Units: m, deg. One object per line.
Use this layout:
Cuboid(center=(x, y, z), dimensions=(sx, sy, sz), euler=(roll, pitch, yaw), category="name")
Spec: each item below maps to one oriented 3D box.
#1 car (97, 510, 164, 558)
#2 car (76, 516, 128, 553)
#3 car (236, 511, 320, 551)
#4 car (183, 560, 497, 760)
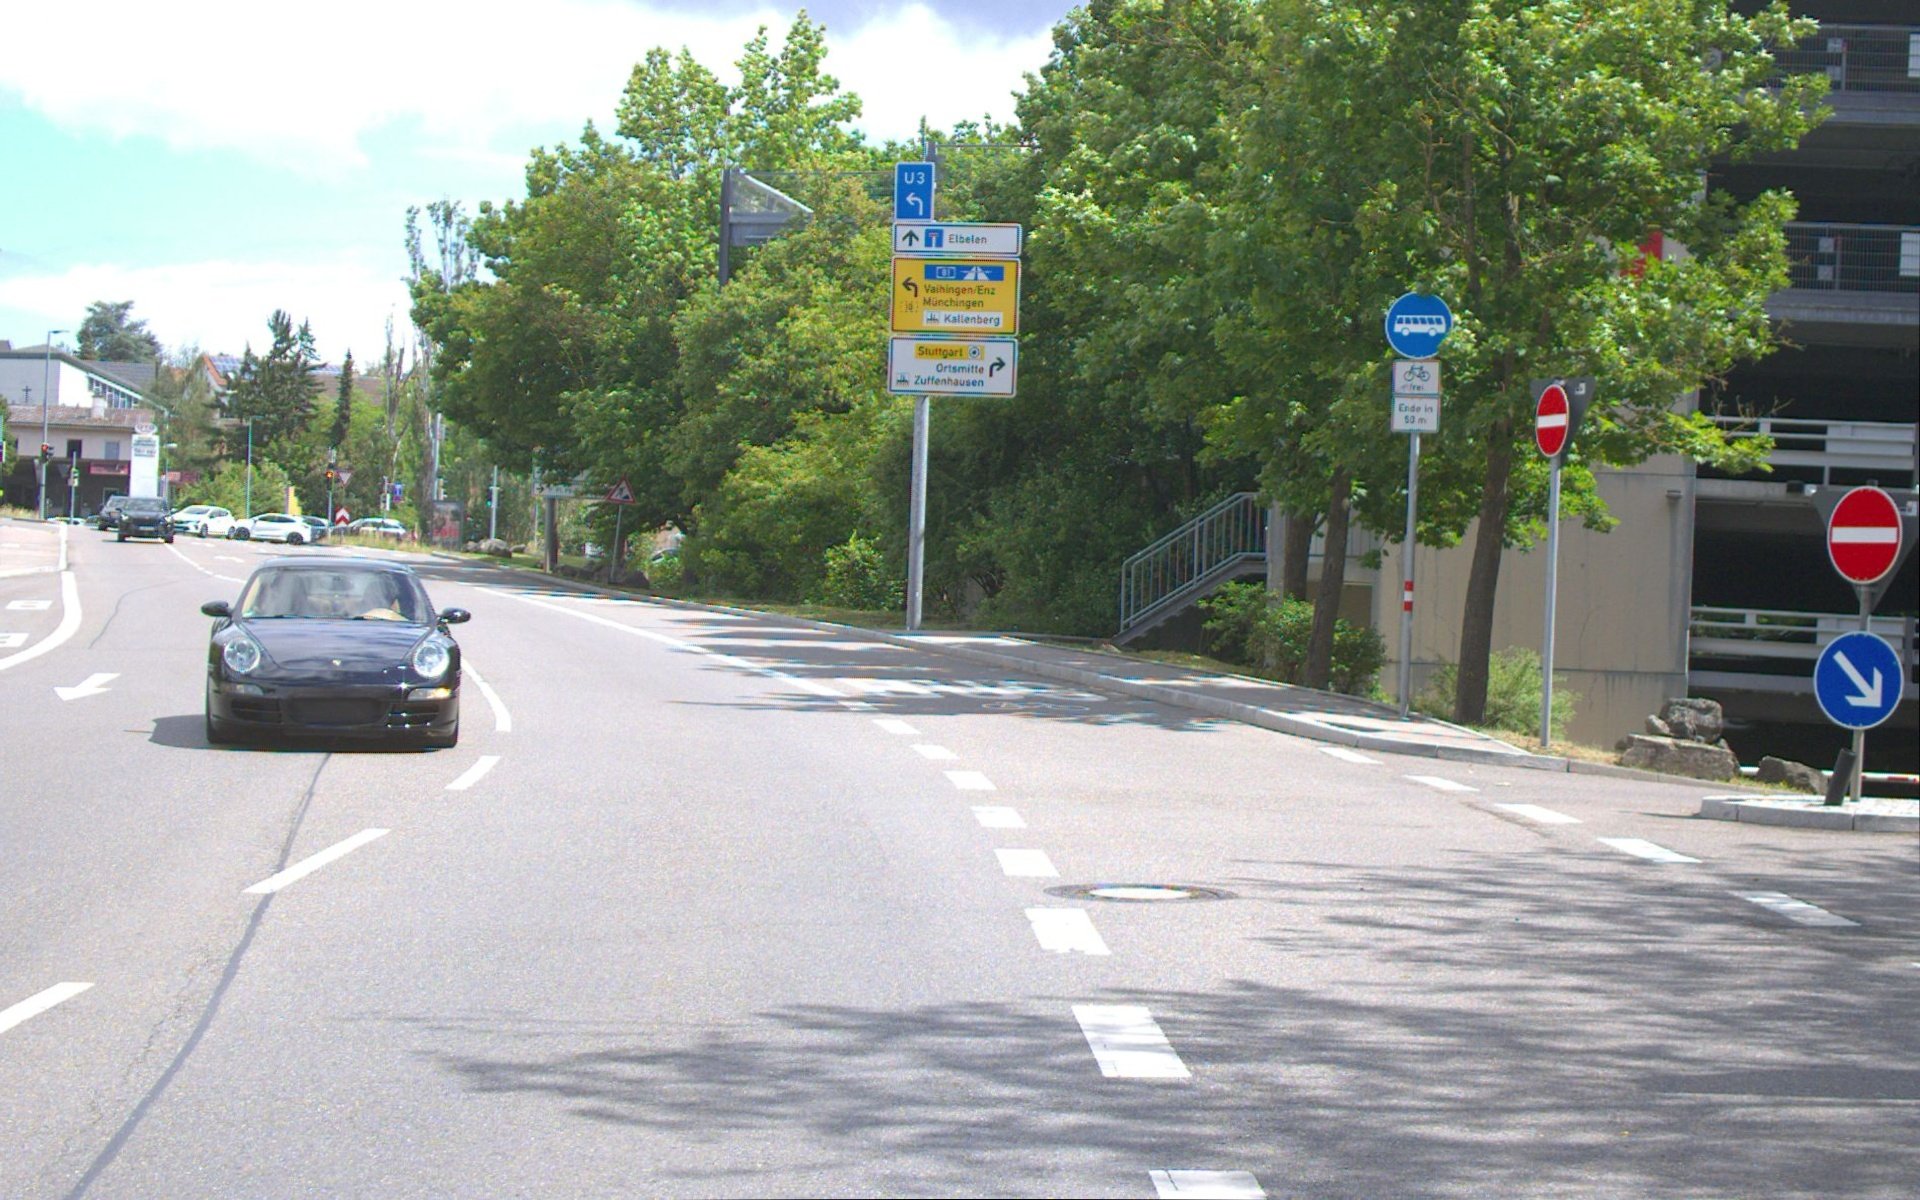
Cuboid(center=(-28.322, -2.273, 117.271), dimensions=(1.822, 1.552, 4.631), euler=(0, 2, -19), category="car")
Cuboid(center=(-34.491, -2.623, 138.136), dimensions=(1.765, 1.437, 4.379), euler=(1, 1, -17), category="car")
Cuboid(center=(-33.940, -3.438, 171.046), dimensions=(3.986, 1.897, 2.001), euler=(1, 1, -15), category="car")
Cuboid(center=(-4.404, 0.383, 24.942), dimensions=(1.734, 1.296, 4.005), euler=(1, 1, -3), category="car")
